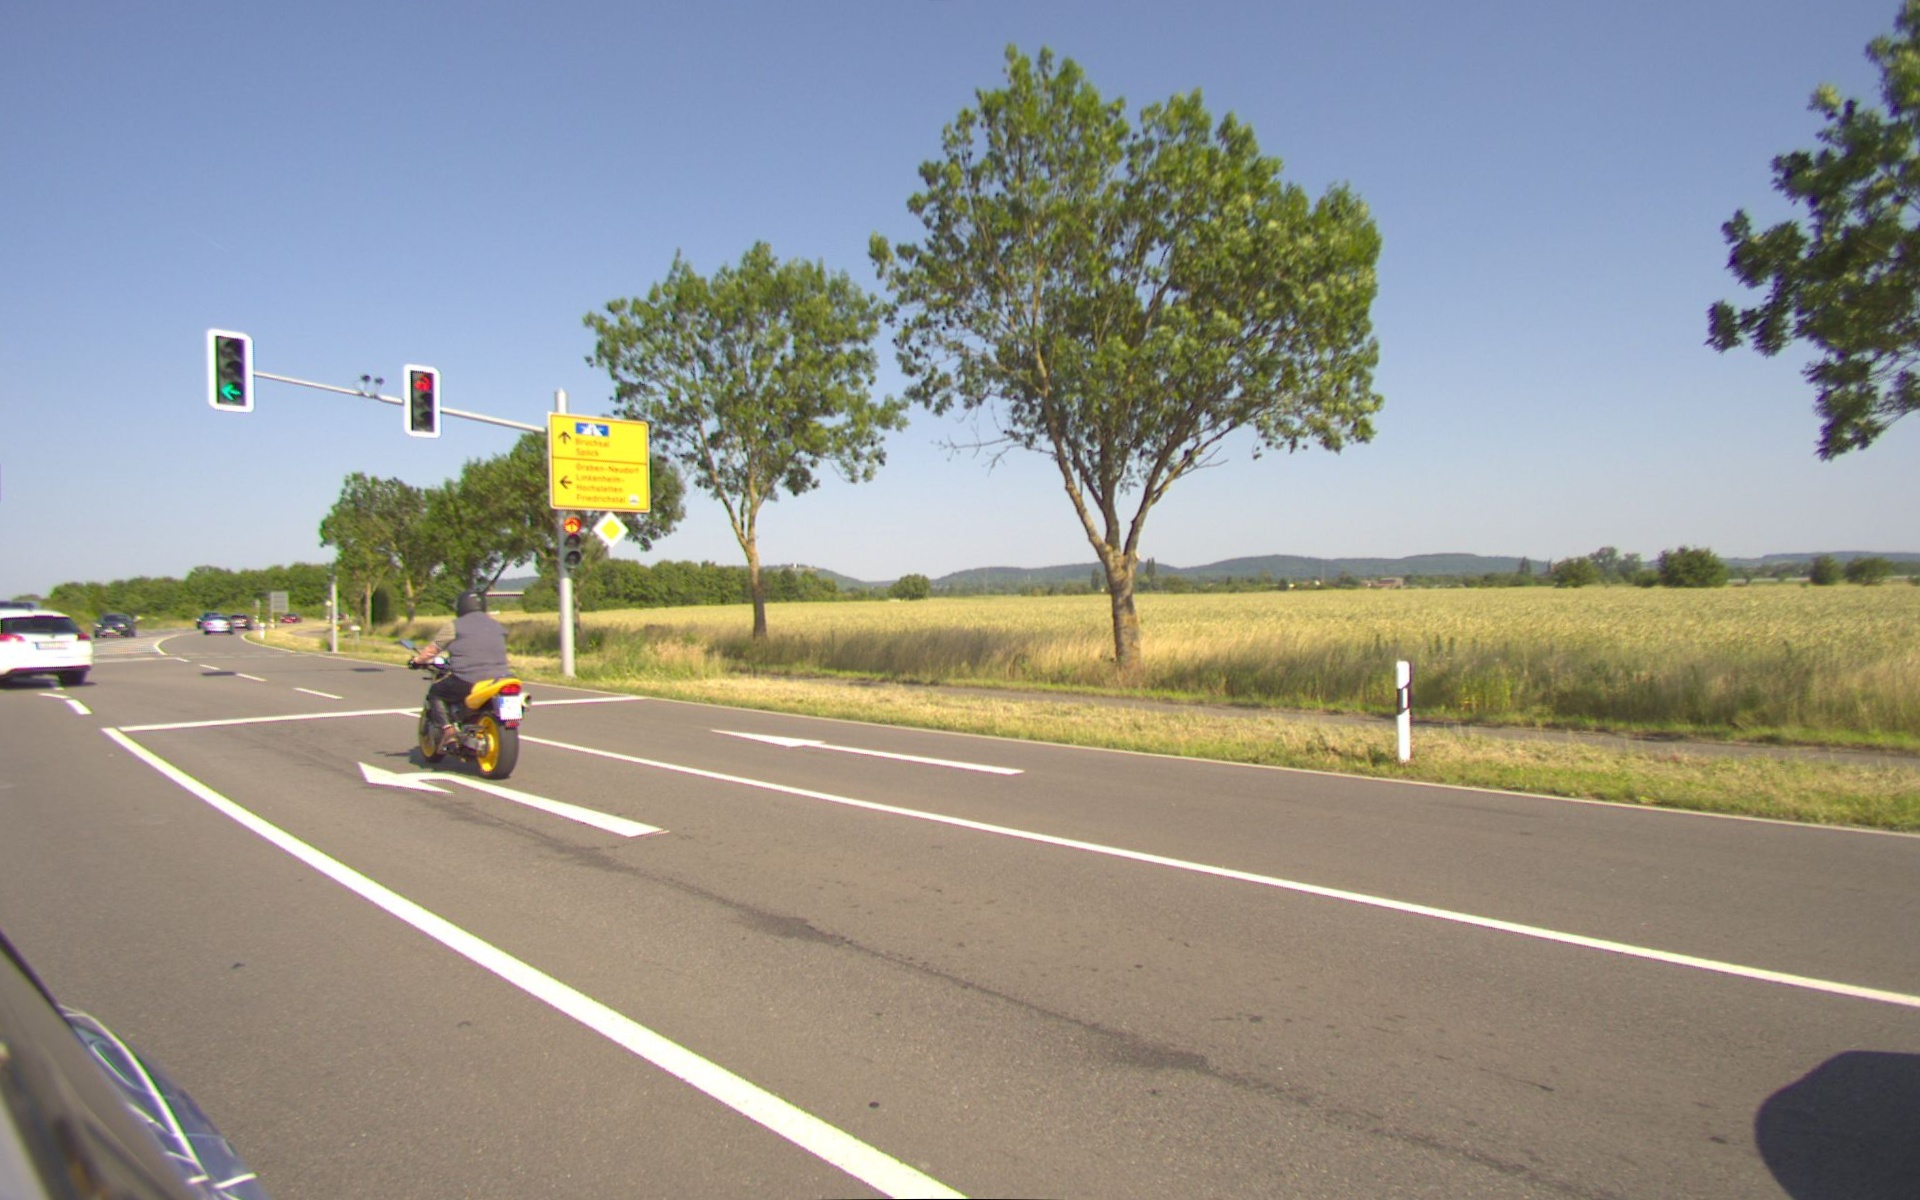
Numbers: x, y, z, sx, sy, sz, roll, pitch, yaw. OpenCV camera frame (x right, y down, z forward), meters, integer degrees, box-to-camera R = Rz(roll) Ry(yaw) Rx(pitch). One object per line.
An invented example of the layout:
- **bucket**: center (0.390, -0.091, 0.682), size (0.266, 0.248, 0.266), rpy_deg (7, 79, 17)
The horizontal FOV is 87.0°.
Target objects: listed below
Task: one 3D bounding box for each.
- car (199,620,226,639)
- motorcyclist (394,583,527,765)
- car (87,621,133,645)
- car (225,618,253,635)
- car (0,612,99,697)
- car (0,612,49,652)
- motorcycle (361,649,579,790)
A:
- **car**: center (-56.429, 2.246, 76.369), size (1.607, 1.387, 4.432), rpy_deg (2, -2, -37)
- **motorcyclist**: center (-4.527, 0.628, 9.148), size (1.181, 1.527, 0.672), rpy_deg (-1, -1, 41)
- **car**: center (-56.736, 2.185, 67.597), size (1.831, 1.554, 4.011), rpy_deg (0, -1, -33)
- **car**: center (-68.153, 2.499, 95.670), size (1.858, 1.638, 4.012), rpy_deg (2, -2, -31)
- **car**: center (-19.011, 1.009, 19.599), size (4.680, 1.503, 1.751), rpy_deg (-1, -1, 24)
- **car**: center (-38.708, 1.290, 41.623), size (1.834, 1.554, 4.005), rpy_deg (0, -1, -42)
- **motorcycle**: center (-4.511, 1.008, 9.208), size (2.427, 1.051, 0.887), rpy_deg (-1, -1, 41)
